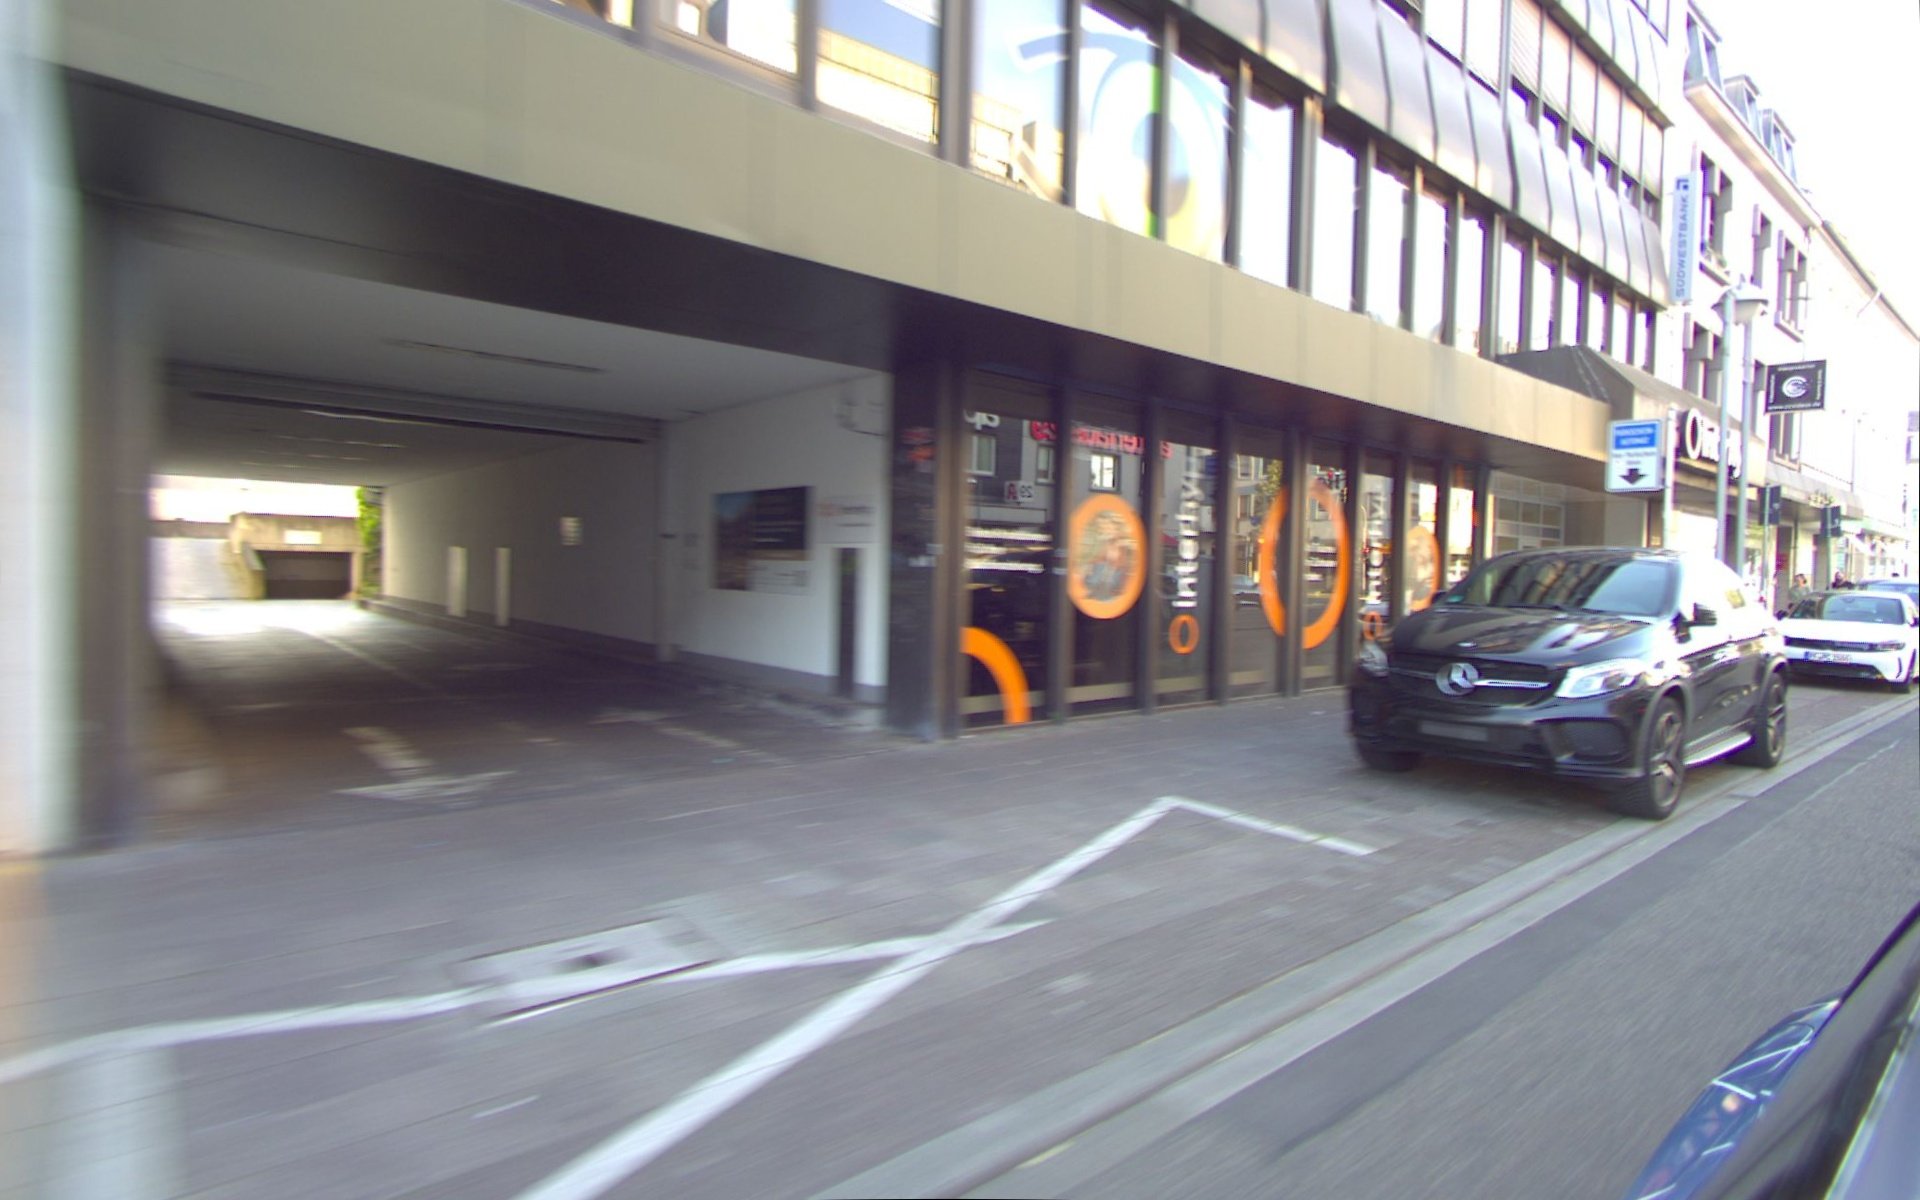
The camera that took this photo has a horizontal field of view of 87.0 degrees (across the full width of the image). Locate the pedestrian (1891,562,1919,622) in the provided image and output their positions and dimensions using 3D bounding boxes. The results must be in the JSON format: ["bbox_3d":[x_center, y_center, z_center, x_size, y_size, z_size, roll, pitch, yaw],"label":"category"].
[{"bbox_3d":[31.429,-0.282,33.540,0.864,1.951,0.662,-1,3,-42],"label":"pedestrian"}]

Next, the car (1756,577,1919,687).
[{"bbox_3d":[14.060,0.418,15.789,3.818,1.450,1.800,0,3,-40],"label":"car"}]

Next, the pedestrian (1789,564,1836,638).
[{"bbox_3d":[20.561,0.014,24.417,0.666,1.739,0.651,0,4,-39],"label":"pedestrian"}]

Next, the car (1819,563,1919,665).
[{"bbox_3d":[18.484,0.216,19.616,4.495,1.748,1.999,-1,4,-40],"label":"car"}]

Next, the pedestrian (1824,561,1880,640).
[{"bbox_3d":[21.429,-0.011,24.319,0.911,1.827,0.769,0,4,-39],"label":"pedestrian"}]

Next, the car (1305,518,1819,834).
[{"bbox_3d":[4.795,0.341,7.788,4.485,1.748,1.998,-1,3,-40],"label":"car"}]
